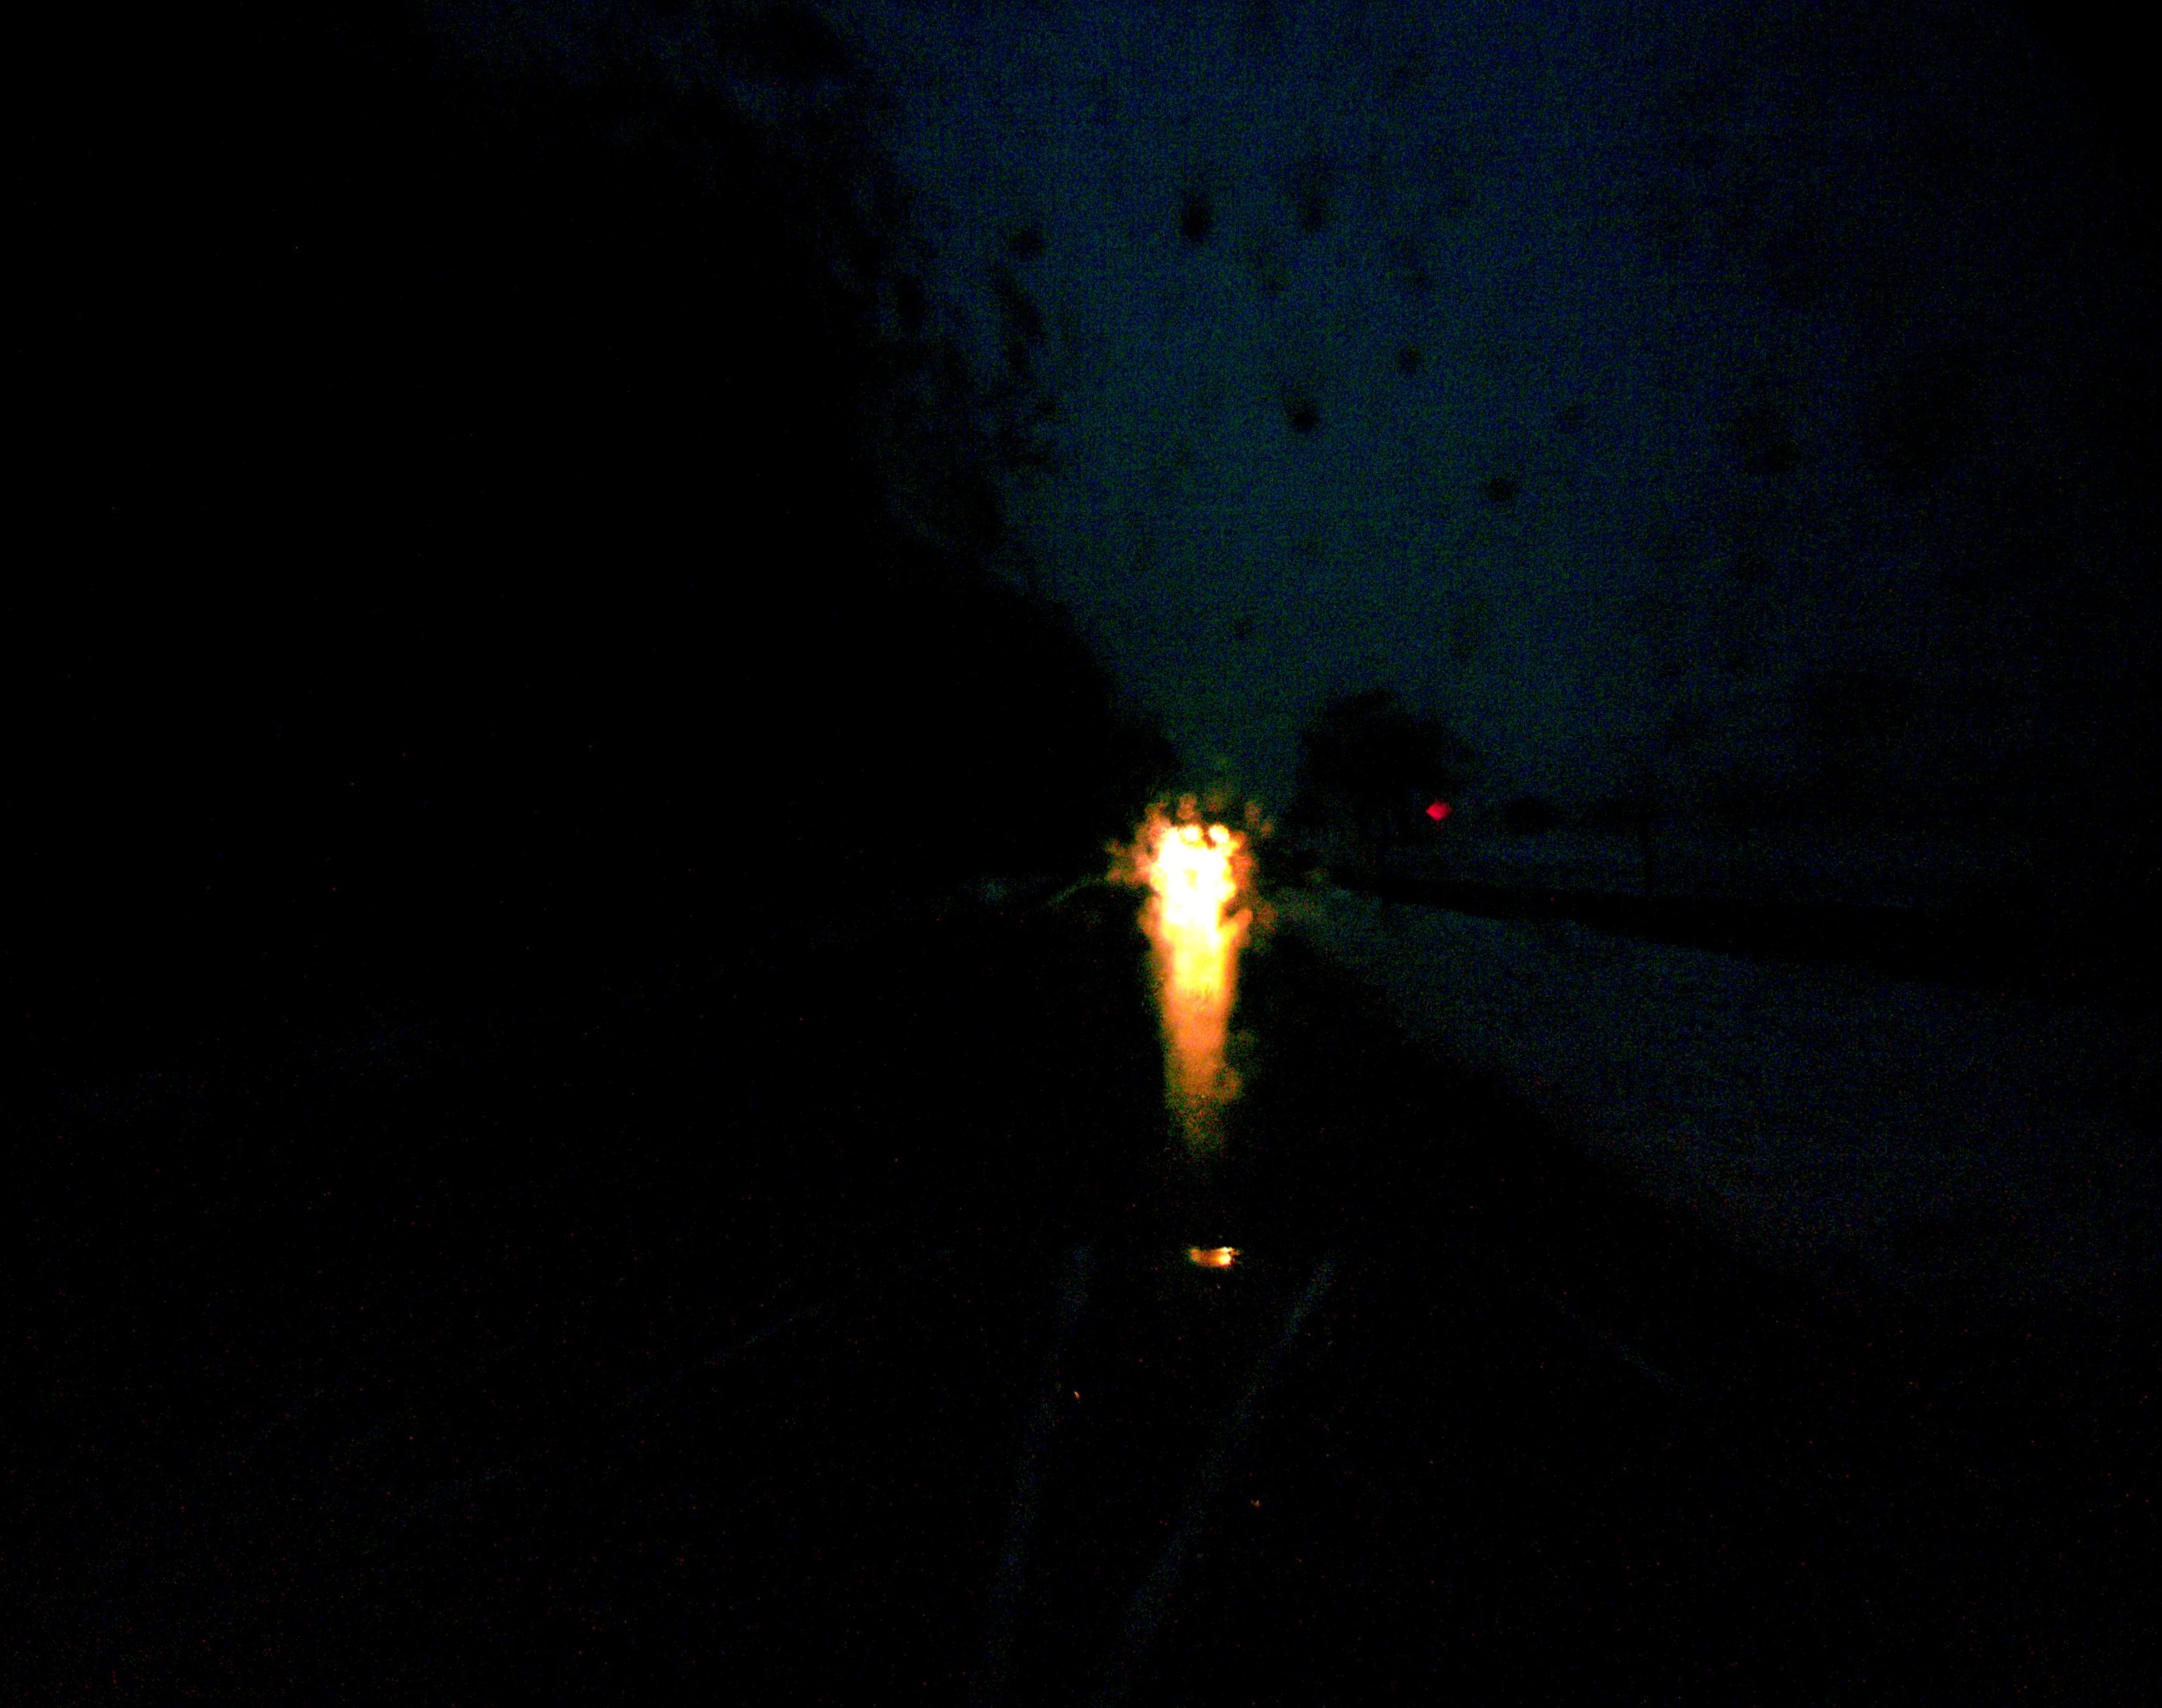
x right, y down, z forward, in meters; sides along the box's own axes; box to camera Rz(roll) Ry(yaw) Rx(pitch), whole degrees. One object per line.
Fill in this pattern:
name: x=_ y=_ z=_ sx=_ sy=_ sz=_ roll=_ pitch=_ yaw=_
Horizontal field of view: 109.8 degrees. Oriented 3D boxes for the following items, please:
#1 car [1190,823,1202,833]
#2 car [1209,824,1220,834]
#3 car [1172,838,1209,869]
car: x=22.278 y=-4.992 z=147.267 sx=1.998 sy=1.797 sz=4.000 roll=-2 pitch=2 yaw=6
car: x=25.098 y=-4.785 z=143.035 sx=1.997 sy=1.797 sz=4.001 roll=-2 pitch=2 yaw=9
car: x=5.621 y=-0.061 z=38.889 sx=1.724 sy=1.426 sz=3.678 roll=-2 pitch=1 yaw=9
